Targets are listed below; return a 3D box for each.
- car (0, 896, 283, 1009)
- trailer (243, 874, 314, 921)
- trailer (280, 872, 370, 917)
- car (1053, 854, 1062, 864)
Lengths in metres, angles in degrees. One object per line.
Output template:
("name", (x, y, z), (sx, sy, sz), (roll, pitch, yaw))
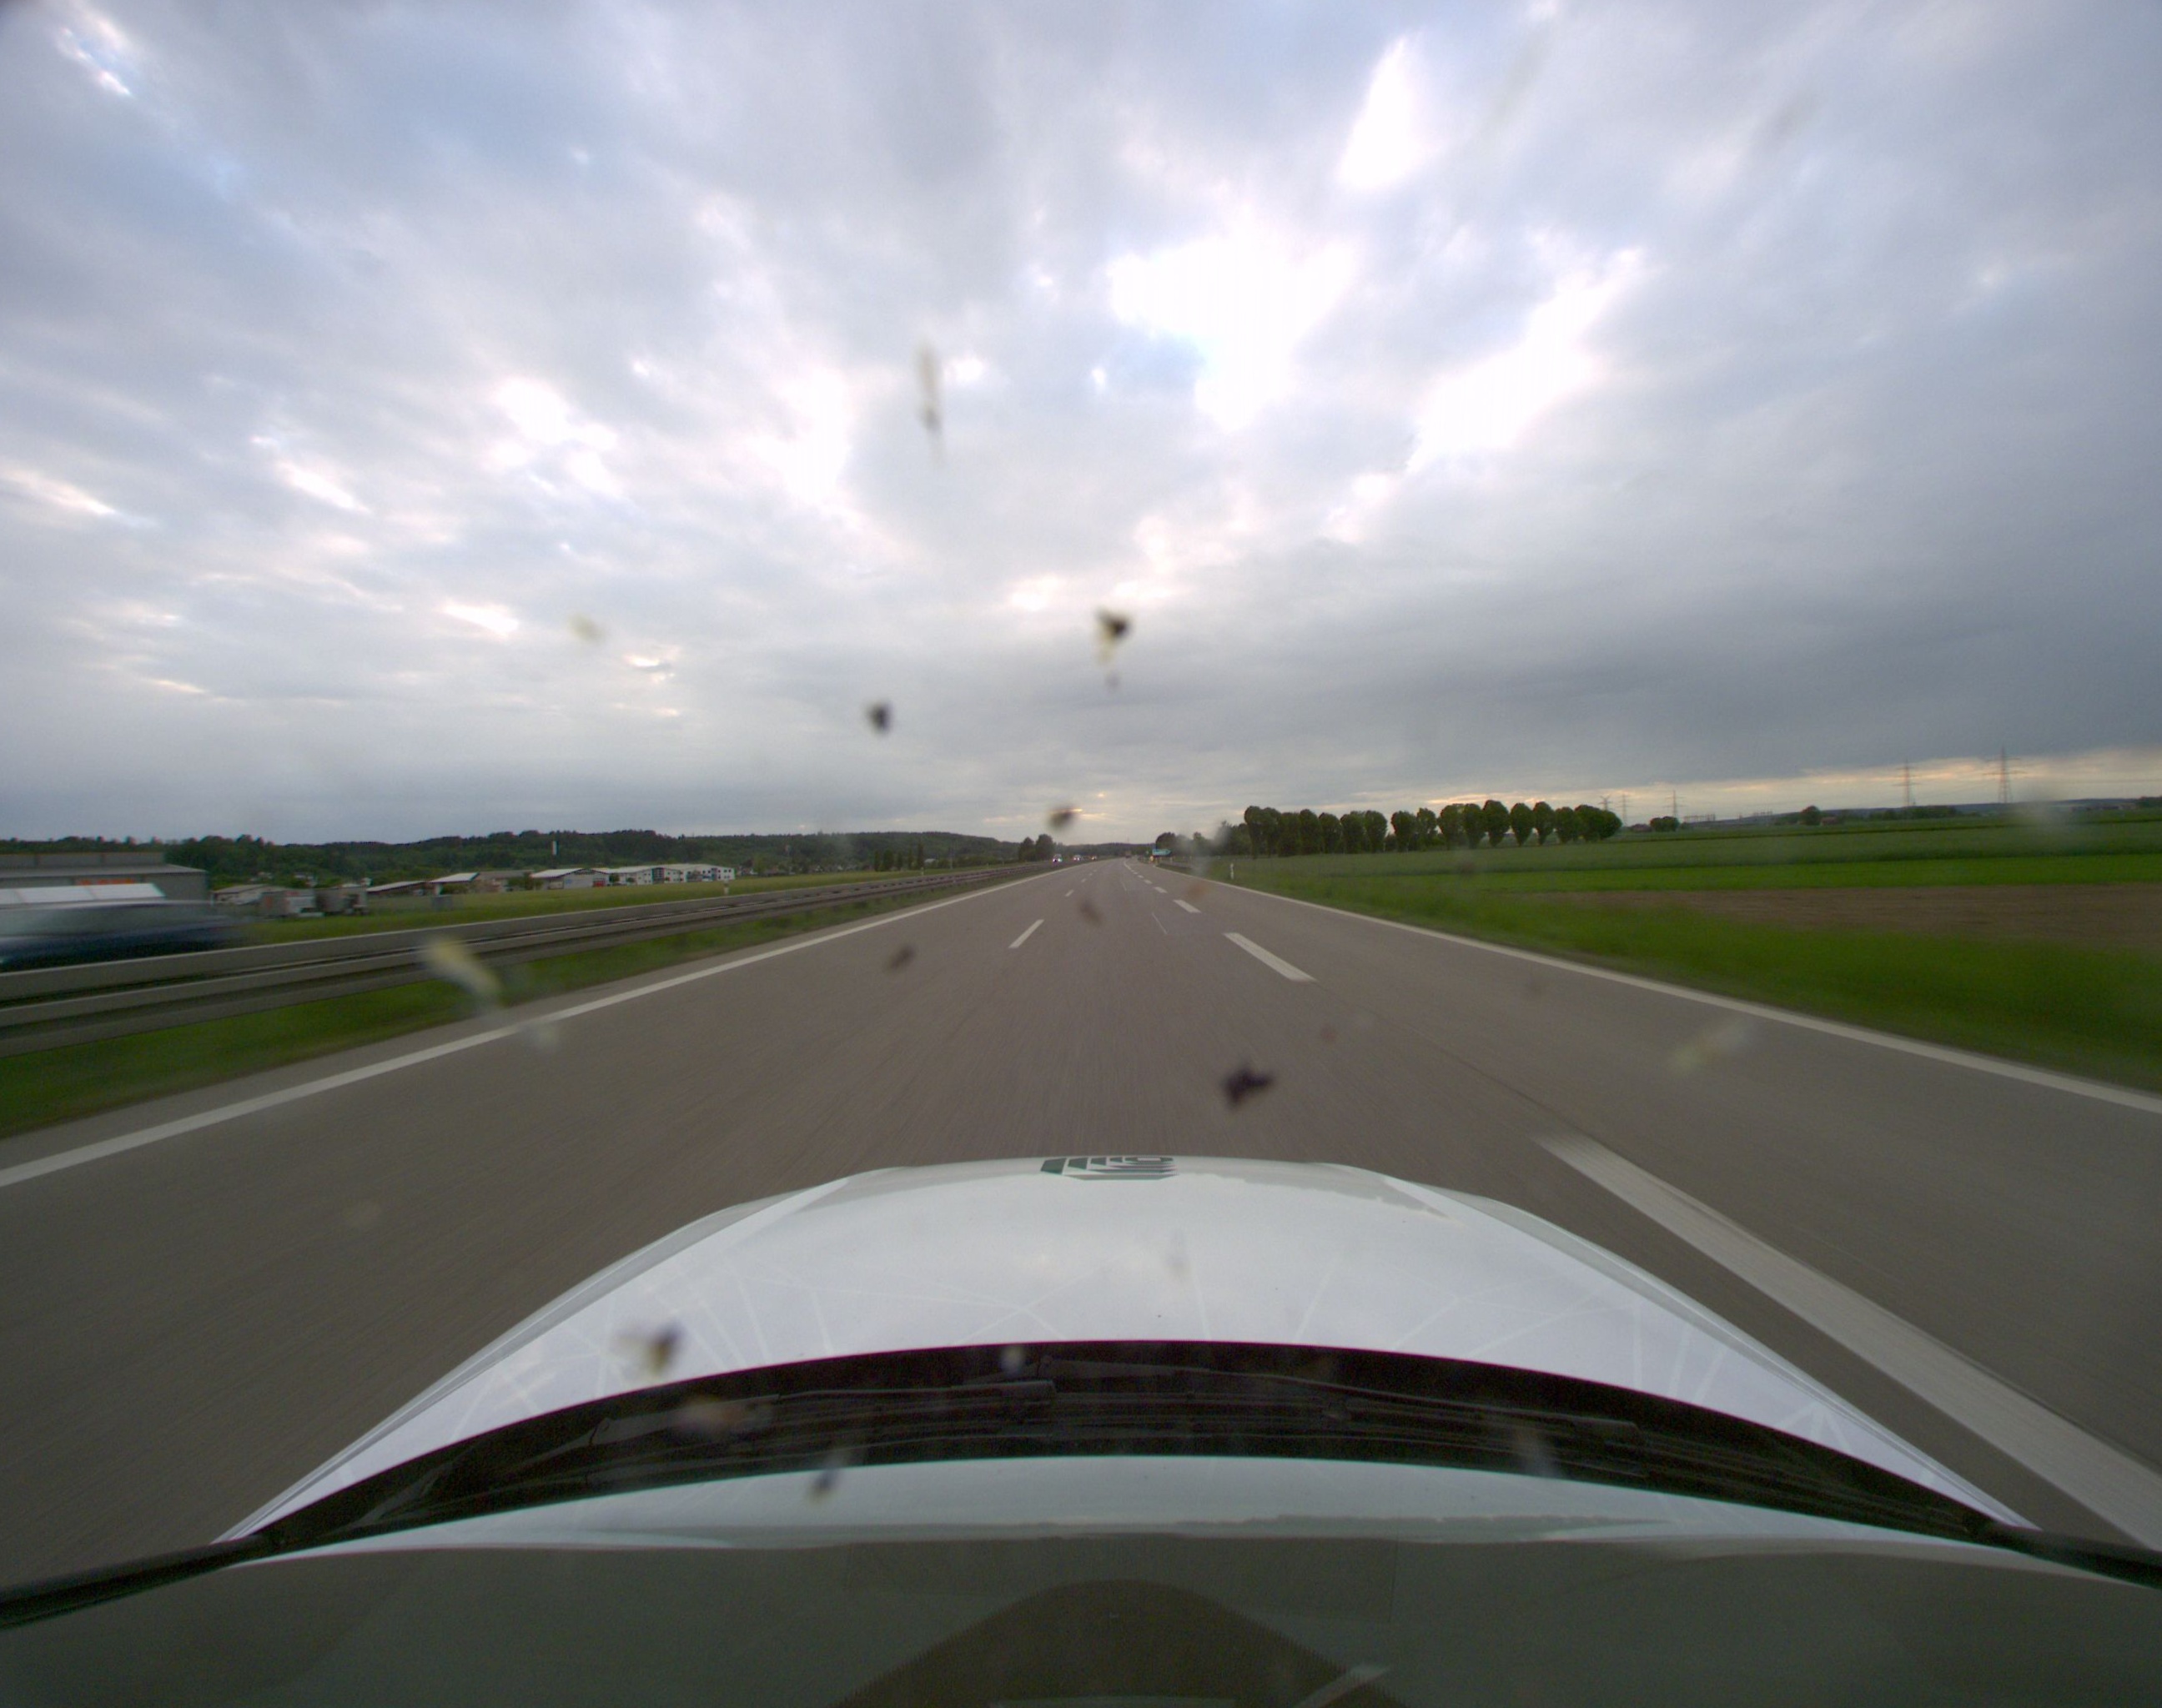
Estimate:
("car", (-16.236, 1.501, 13.226), (1.986, 1.416, 4.525), (-1, 0, 2))
("trailer", (-99.158, 5.390, 100.569), (9.952, 5.261, 3.778), (-4, -2, 30))
("trailer", (-96.148, 5.220, 103.401), (16.814, 5.135, 3.592), (-4, -2, 30))
("car", (-6.770, 1.510, 237.061), (2.097, 2.801, 6.432), (-1, 0, 3))
